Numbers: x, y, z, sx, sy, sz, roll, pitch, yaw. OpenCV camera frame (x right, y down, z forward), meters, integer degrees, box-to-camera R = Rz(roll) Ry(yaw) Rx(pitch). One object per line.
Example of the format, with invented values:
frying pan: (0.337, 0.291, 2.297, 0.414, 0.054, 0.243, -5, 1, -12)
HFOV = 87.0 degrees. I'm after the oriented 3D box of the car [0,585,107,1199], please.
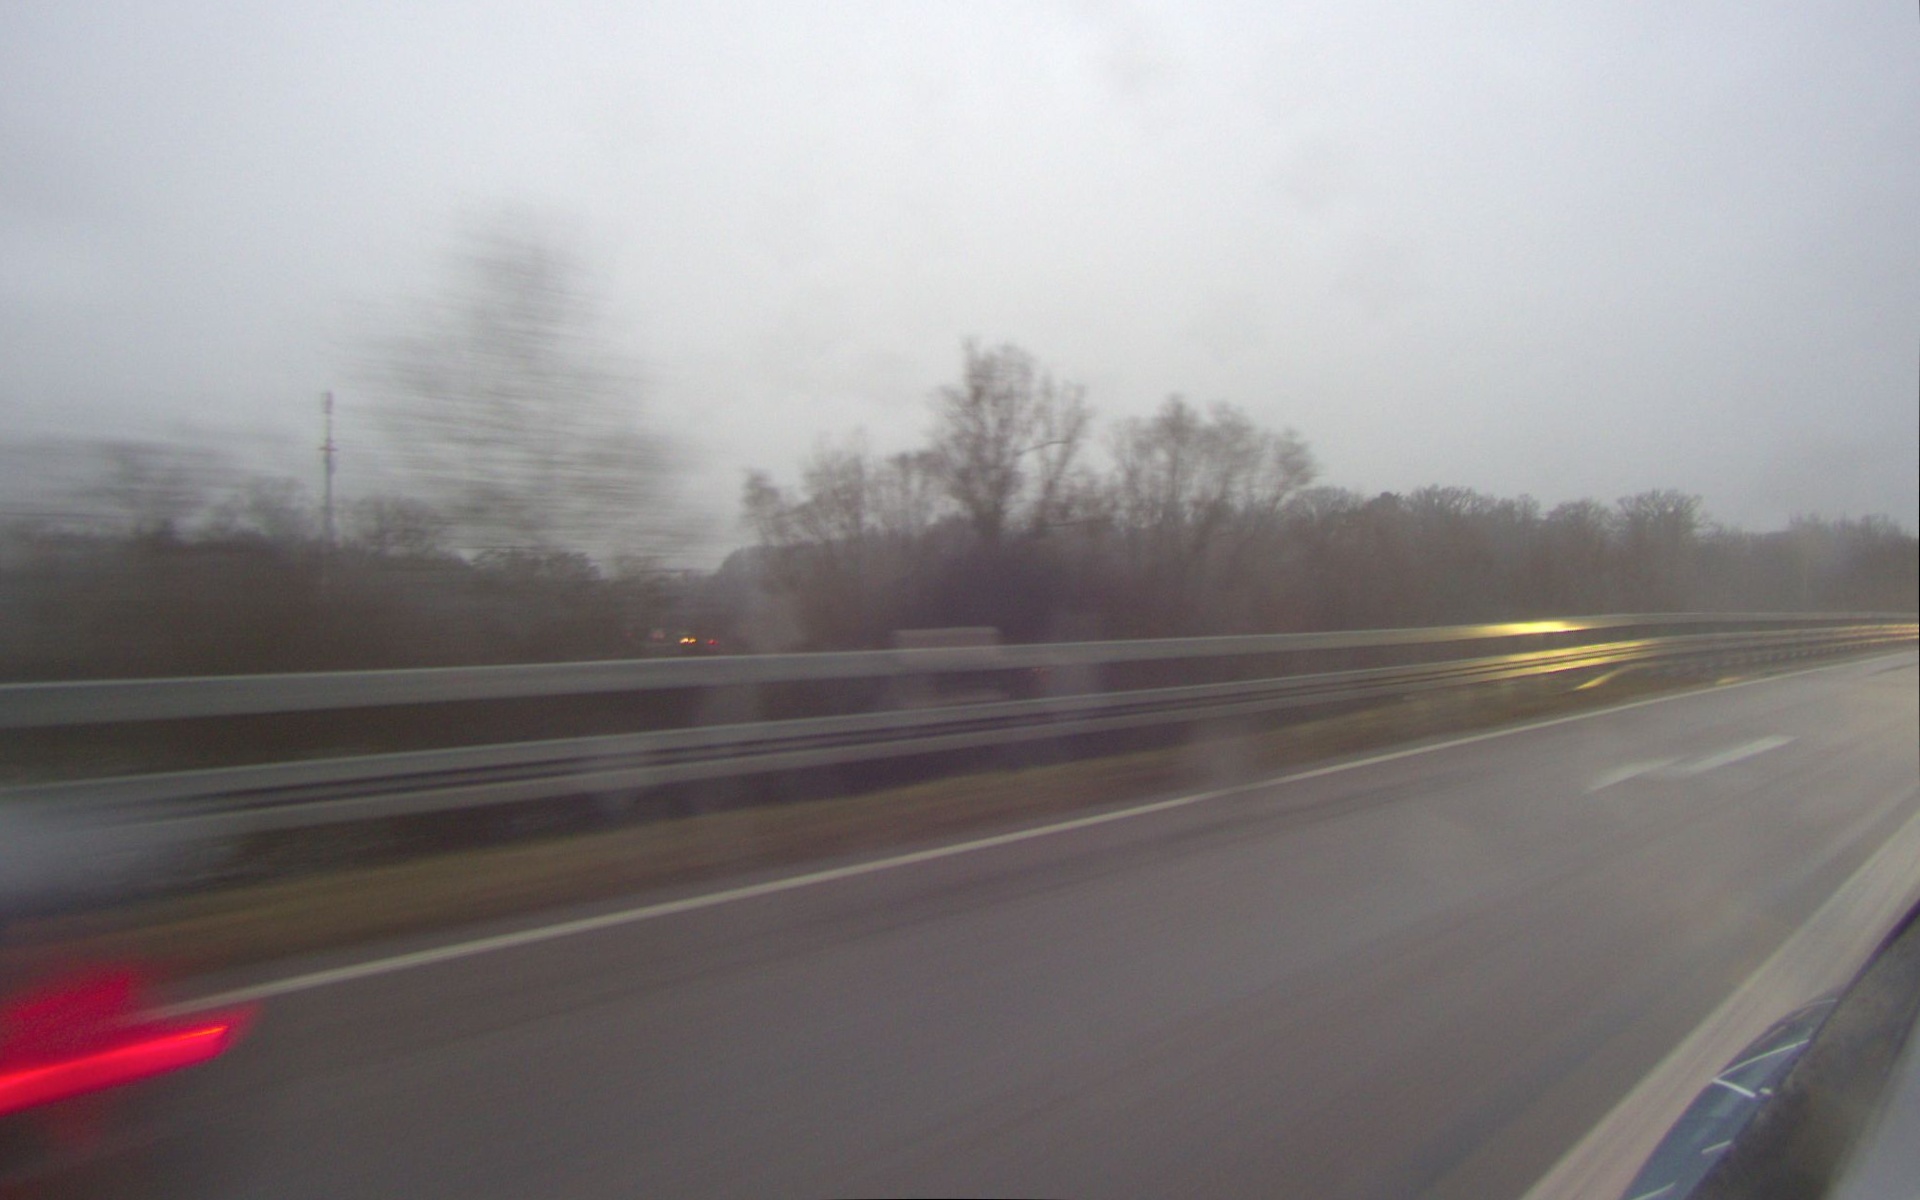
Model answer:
car: (-3.582, 0.706, 0.848, 4.298, 1.433, 1.740, 0, -2, -39)
